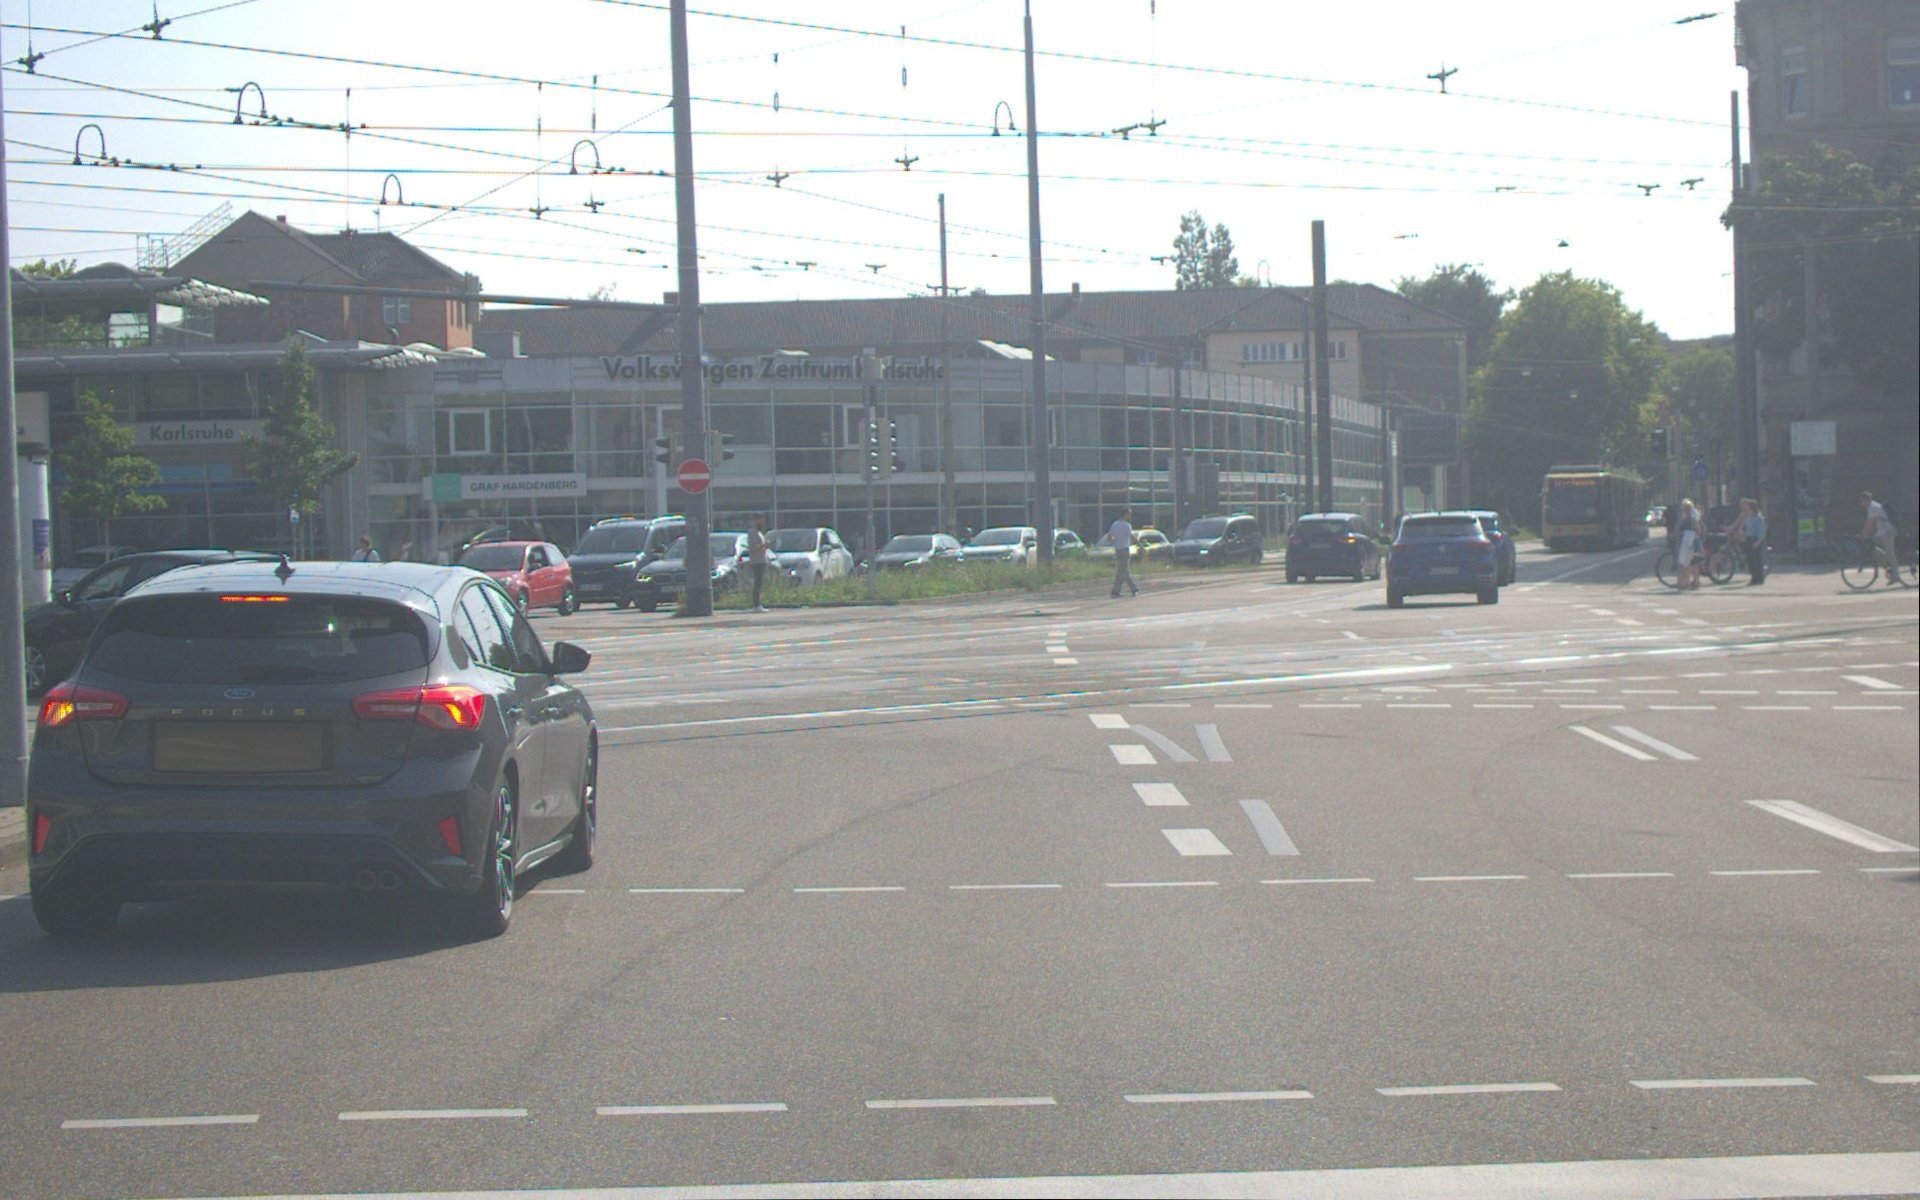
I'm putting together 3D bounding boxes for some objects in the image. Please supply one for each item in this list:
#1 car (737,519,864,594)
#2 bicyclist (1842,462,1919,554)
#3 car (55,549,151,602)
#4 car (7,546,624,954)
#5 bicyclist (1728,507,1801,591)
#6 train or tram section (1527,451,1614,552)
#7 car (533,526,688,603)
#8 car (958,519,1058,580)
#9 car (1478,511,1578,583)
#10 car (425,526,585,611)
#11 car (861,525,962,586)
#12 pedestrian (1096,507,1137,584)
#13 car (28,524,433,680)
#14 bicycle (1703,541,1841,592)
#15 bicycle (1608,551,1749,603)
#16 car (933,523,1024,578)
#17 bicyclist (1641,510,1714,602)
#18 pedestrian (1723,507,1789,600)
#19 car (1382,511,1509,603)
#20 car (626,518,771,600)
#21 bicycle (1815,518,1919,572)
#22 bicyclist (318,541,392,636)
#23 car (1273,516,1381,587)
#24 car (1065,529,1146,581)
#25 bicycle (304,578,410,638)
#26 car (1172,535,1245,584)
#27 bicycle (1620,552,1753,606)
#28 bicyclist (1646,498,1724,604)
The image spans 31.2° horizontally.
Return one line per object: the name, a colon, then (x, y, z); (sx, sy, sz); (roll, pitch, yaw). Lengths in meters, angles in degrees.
car: (-3.366, -0.946, 73.428); (1.615, 1.470, 3.998); (-3, 1, 13)
bicyclist: (17.268, -1.720, 64.407); (0.934, 1.702, 1.092); (-2, 2, -39)
car: (-25.761, -0.761, 103.451); (1.699, 1.517, 4.099); (-1, 1, 2)
car: (-2.545, 0.504, 14.673); (1.832, 1.430, 4.551); (-1, 1, -1)
bicyclist: (16.418, -1.048, 70.178); (0.934, 1.674, 1.093); (-2, 1, -25)
train or tram section: (23.707, -3.812, 133.225); (2.656, 3.686, 10.583); (-1, 1, 13)
car: (-7.275, -0.763, 71.968); (1.961, 1.470, 3.998); (-3, 1, 13)
car: (1.267, -1.324, 88.710); (1.615, 1.470, 3.998); (-3, 1, 14)
car: (12.044, -1.141, 72.733); (1.826, 1.423, 4.410); (-1, 1, 13)
car: (-8.532, -0.622, 64.746); (1.615, 1.470, 3.998); (-3, 1, 13)
car: (-1.249, -1.191, 90.695); (1.615, 1.470, 3.998); (-3, 1, 14)
pedestrian: (3.076, -1.080, 67.760); (0.777, 1.498, 0.710); (-1, 1, 2)
car: (-7.520, 0.014, 35.227); (4.368, 1.486, 1.684); (0, 1, 40)
bicycle: (16.597, -0.688, 70.275); (2.618, 0.961, 1.093); (-2, 1, -26)
bicycle: (14.343, -0.460, 68.649); (2.618, 0.961, 1.093); (-2, 1, -26)
car: (0.543, -1.424, 97.824); (1.615, 1.470, 3.998); (-3, 1, 14)
bicyclist: (14.321, -0.880, 68.631); (0.934, 1.793, 1.093); (-2, 1, -25)
pedestrian: (15.656, -0.918, 67.622); (0.925, 1.791, 0.859); (-2, 2, -43)
car: (8.153, -0.749, 57.493); (1.826, 1.423, 4.410); (-1, 1, 11)
car: (-5.057, -0.818, 67.036); (1.615, 1.470, 3.998); (-3, 1, 13)
bicycle: (17.302, -1.031, 64.445); (2.619, 0.961, 1.093); (-2, 2, -39)
bicyclist: (-11.347, -0.219, 64.487); (0.958, 1.742, 1.165); (-1, 1, 14)
car: (8.597, -1.152, 80.243); (1.827, 1.530, 4.409); (-1, 1, 15)
car: (4.446, -1.395, 104.765); (1.615, 1.470, 3.998); (-3, 1, 14)
bicycle: (-11.317, 0.143, 64.598); (0.958, 1.053, 2.606); (-1, 1, 14)
car: (8.128, -1.330, 112.190); (1.615, 1.470, 3.998); (-3, 1, 14)
bicycle: (14.029, -0.407, 66.364); (2.619, 0.961, 1.093); (-2, 2, -39)
bicyclist: (13.982, -0.948, 66.329); (0.934, 2.017, 1.092); (-2, 2, -39)
